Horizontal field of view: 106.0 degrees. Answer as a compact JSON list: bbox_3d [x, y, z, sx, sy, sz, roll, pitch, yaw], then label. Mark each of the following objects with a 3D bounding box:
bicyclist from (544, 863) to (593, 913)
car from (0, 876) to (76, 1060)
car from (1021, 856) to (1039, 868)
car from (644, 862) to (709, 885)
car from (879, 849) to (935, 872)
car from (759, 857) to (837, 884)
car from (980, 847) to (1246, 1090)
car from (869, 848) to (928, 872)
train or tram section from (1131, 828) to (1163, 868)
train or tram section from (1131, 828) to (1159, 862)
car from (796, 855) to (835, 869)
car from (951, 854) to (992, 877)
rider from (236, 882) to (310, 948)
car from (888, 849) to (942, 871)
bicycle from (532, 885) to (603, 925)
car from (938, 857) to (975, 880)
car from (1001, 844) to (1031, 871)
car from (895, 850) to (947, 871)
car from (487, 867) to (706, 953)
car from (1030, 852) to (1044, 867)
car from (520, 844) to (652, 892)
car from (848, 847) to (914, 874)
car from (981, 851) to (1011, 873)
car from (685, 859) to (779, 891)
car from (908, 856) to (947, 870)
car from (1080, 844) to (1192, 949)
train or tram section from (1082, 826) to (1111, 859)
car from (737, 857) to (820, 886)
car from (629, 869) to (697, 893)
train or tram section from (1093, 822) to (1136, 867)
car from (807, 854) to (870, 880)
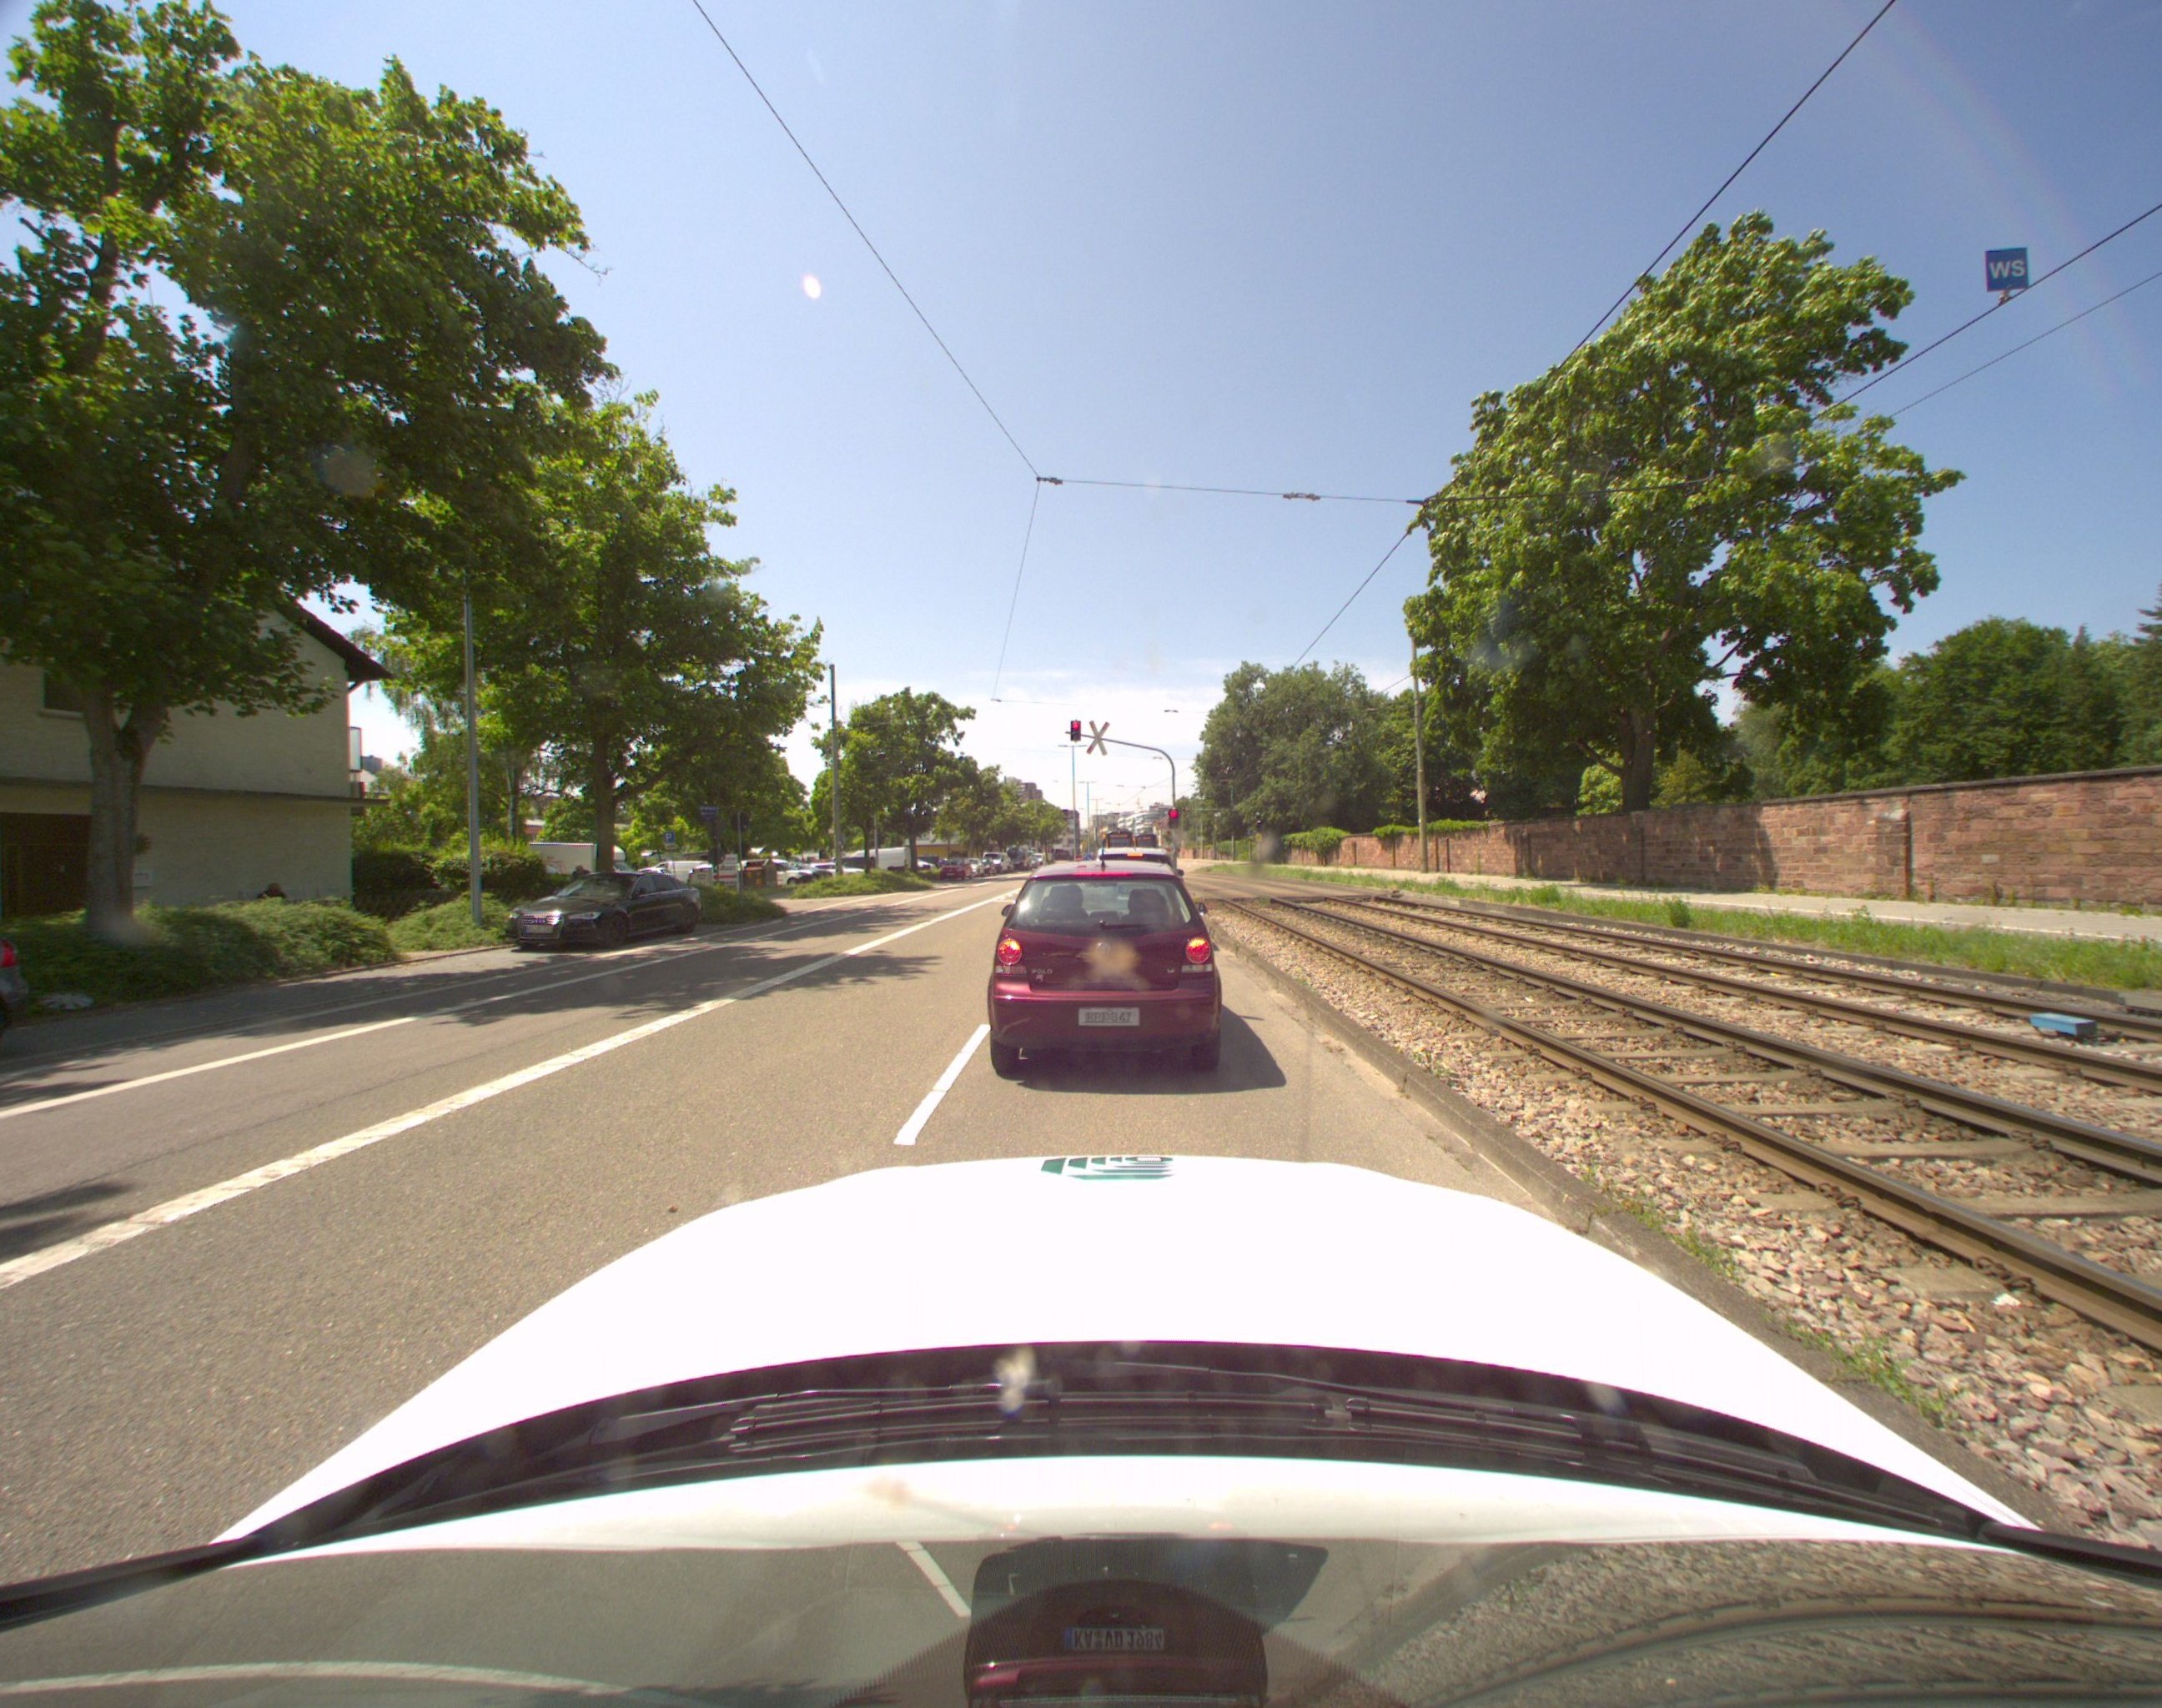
[{"bbox_3d":[-14.458,0.941,22.983,0.805,1.374,0.829,0,-1,5],"label":"bicyclist"},{"bbox_3d":[-10.226,0.993,5.418,1.812,1.564,4.182,0,0,1],"label":"car"},{"bbox_3d":[-6.354,0.977,101.655,1.606,1.441,4.006,0,-1,5],"label":"car"},{"bbox_3d":[-30.677,1.489,61.823,3.982,1.653,1.812,1,-1,-7],"label":"car"},{"bbox_3d":[-17.722,0.641,82.919,5.076,2.244,2.380,1,-1,3],"label":"car"},{"bbox_3d":[-18.408,1.056,53.125,4.319,1.585,1.917,-2,0,8],"label":"car"},{"bbox_3d":[0.244,0.714,7.116,1.666,1.521,4.001,0,0,1],"label":"car"},{"bbox_3d":[-17.817,0.605,79.746,5.076,2.244,2.380,1,-1,3],"label":"car"},{"bbox_3d":[6.815,-0.639,85.378,3.015,3.797,13.102,-2,0,4],"label":"train or tram section"},{"bbox_3d":[7.657,-1.038,98.364,3.015,3.797,13.103,-2,0,4],"label":"train or tram section"},{"bbox_3d":[-31.562,0.967,96.990,4.006,1.617,1.816,1,-1,0],"label":"car"},{"bbox_3d":[-8.215,0.851,61.366,1.965,1.601,4.566,0,-1,6],"label":"car"},{"bbox_3d":[-17.970,1.347,18.134,0.820,1.374,0.814,-2,0,10],"label":"rider"},{"bbox_3d":[-17.361,0.672,85.398,5.076,2.244,2.380,1,-1,3],"label":"car"},{"bbox_3d":[-14.457,1.408,23.003,0.697,1.030,1.831,0,-1,5],"label":"bicycle"},{"bbox_3d":[-8.324,0.984,54.814,1.655,1.497,4.004,1,-1,4],"label":"car"},{"bbox_3d":[-6.685,0.398,84.632,2.352,2.692,5.311,1,-1,3],"label":"car"},{"bbox_3d":[-17.289,0.702,88.117,5.076,2.244,2.380,1,-1,3],"label":"car"},{"bbox_3d":[-9.863,1.053,17.072,1.812,1.476,4.450,0,0,1],"label":"car"},{"bbox_3d":[-5.866,0.738,107.909,1.771,1.828,3.995,1,-1,-3],"label":"car"},{"bbox_3d":[-31.438,0.887,51.873,6.828,2.965,2.364,1,-1,0],"label":"car"},{"bbox_3d":[-17.531,0.575,71.605,5.076,2.244,2.380,1,-1,3],"label":"car"},{"bbox_3d":[-7.441,0.733,71.595,1.774,1.881,4.791,0,-1,5],"label":"car"},{"bbox_3d":[-19.347,1.162,45.332,4.329,1.585,1.912,-2,0,-1],"label":"car"},{"bbox_3d":[-17.392,1.012,92.403,4.004,1.617,1.818,1,-1,3],"label":"car"},{"bbox_3d":[0.905,0.654,14.803,1.770,1.647,4.001,0,0,1],"label":"car"},{"bbox_3d":[1.734,-1.256,95.513,2.734,3.609,10.939,1,0,-3],"label":"train or tram section"},{"bbox_3d":[-18.627,1.068,50.282,4.319,1.585,1.917,-2,0,7],"label":"car"},{"bbox_3d":[-30.414,1.955,59.397,3.982,1.653,1.812,1,-1,-7],"label":"car"},{"bbox_3d":[2.841,-0.802,72.976,2.734,3.609,12.857,1,0,-3],"label":"train or tram section"},{"bbox_3d":[-18.173,0.972,61.158,3.973,1.746,1.998,-2,0,0],"label":"car"}]
